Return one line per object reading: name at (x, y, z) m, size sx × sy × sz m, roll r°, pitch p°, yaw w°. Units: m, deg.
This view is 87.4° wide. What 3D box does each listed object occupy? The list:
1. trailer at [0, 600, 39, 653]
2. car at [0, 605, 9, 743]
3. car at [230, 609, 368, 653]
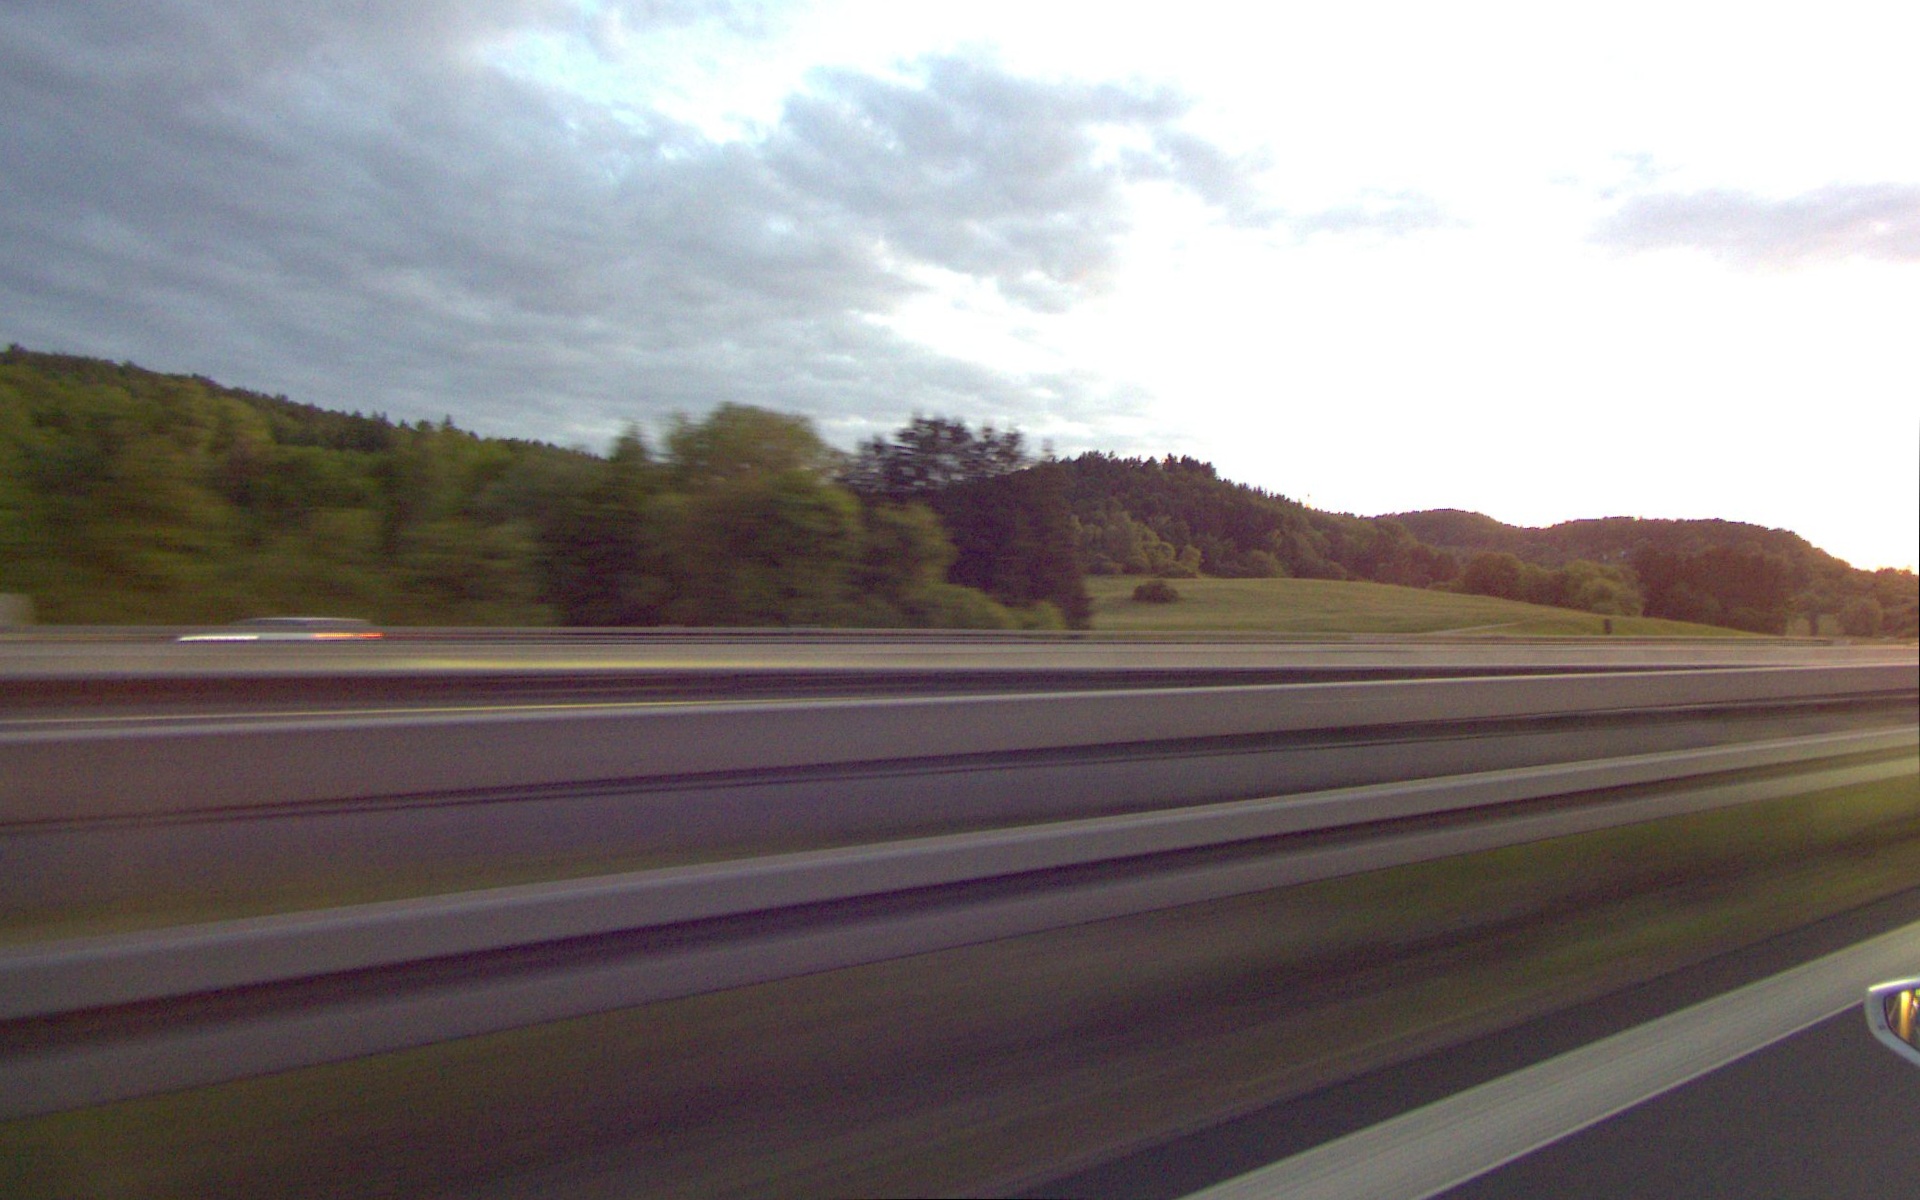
trailer at (-30.917, 0.786, 30.880) m, size 3.560 × 1.617 × 1.526 m, roll 2°, pitch -1°, yaw -32°
car at (-12.580, 0.763, 9.755) m, size 4.467 × 1.582 × 1.863 m, roll 2°, pitch -2°, yaw -30°
car at (-25.088, 1.187, 38.341) m, size 4.259 × 1.617 × 1.757 m, roll 2°, pitch -1°, yaw -31°
